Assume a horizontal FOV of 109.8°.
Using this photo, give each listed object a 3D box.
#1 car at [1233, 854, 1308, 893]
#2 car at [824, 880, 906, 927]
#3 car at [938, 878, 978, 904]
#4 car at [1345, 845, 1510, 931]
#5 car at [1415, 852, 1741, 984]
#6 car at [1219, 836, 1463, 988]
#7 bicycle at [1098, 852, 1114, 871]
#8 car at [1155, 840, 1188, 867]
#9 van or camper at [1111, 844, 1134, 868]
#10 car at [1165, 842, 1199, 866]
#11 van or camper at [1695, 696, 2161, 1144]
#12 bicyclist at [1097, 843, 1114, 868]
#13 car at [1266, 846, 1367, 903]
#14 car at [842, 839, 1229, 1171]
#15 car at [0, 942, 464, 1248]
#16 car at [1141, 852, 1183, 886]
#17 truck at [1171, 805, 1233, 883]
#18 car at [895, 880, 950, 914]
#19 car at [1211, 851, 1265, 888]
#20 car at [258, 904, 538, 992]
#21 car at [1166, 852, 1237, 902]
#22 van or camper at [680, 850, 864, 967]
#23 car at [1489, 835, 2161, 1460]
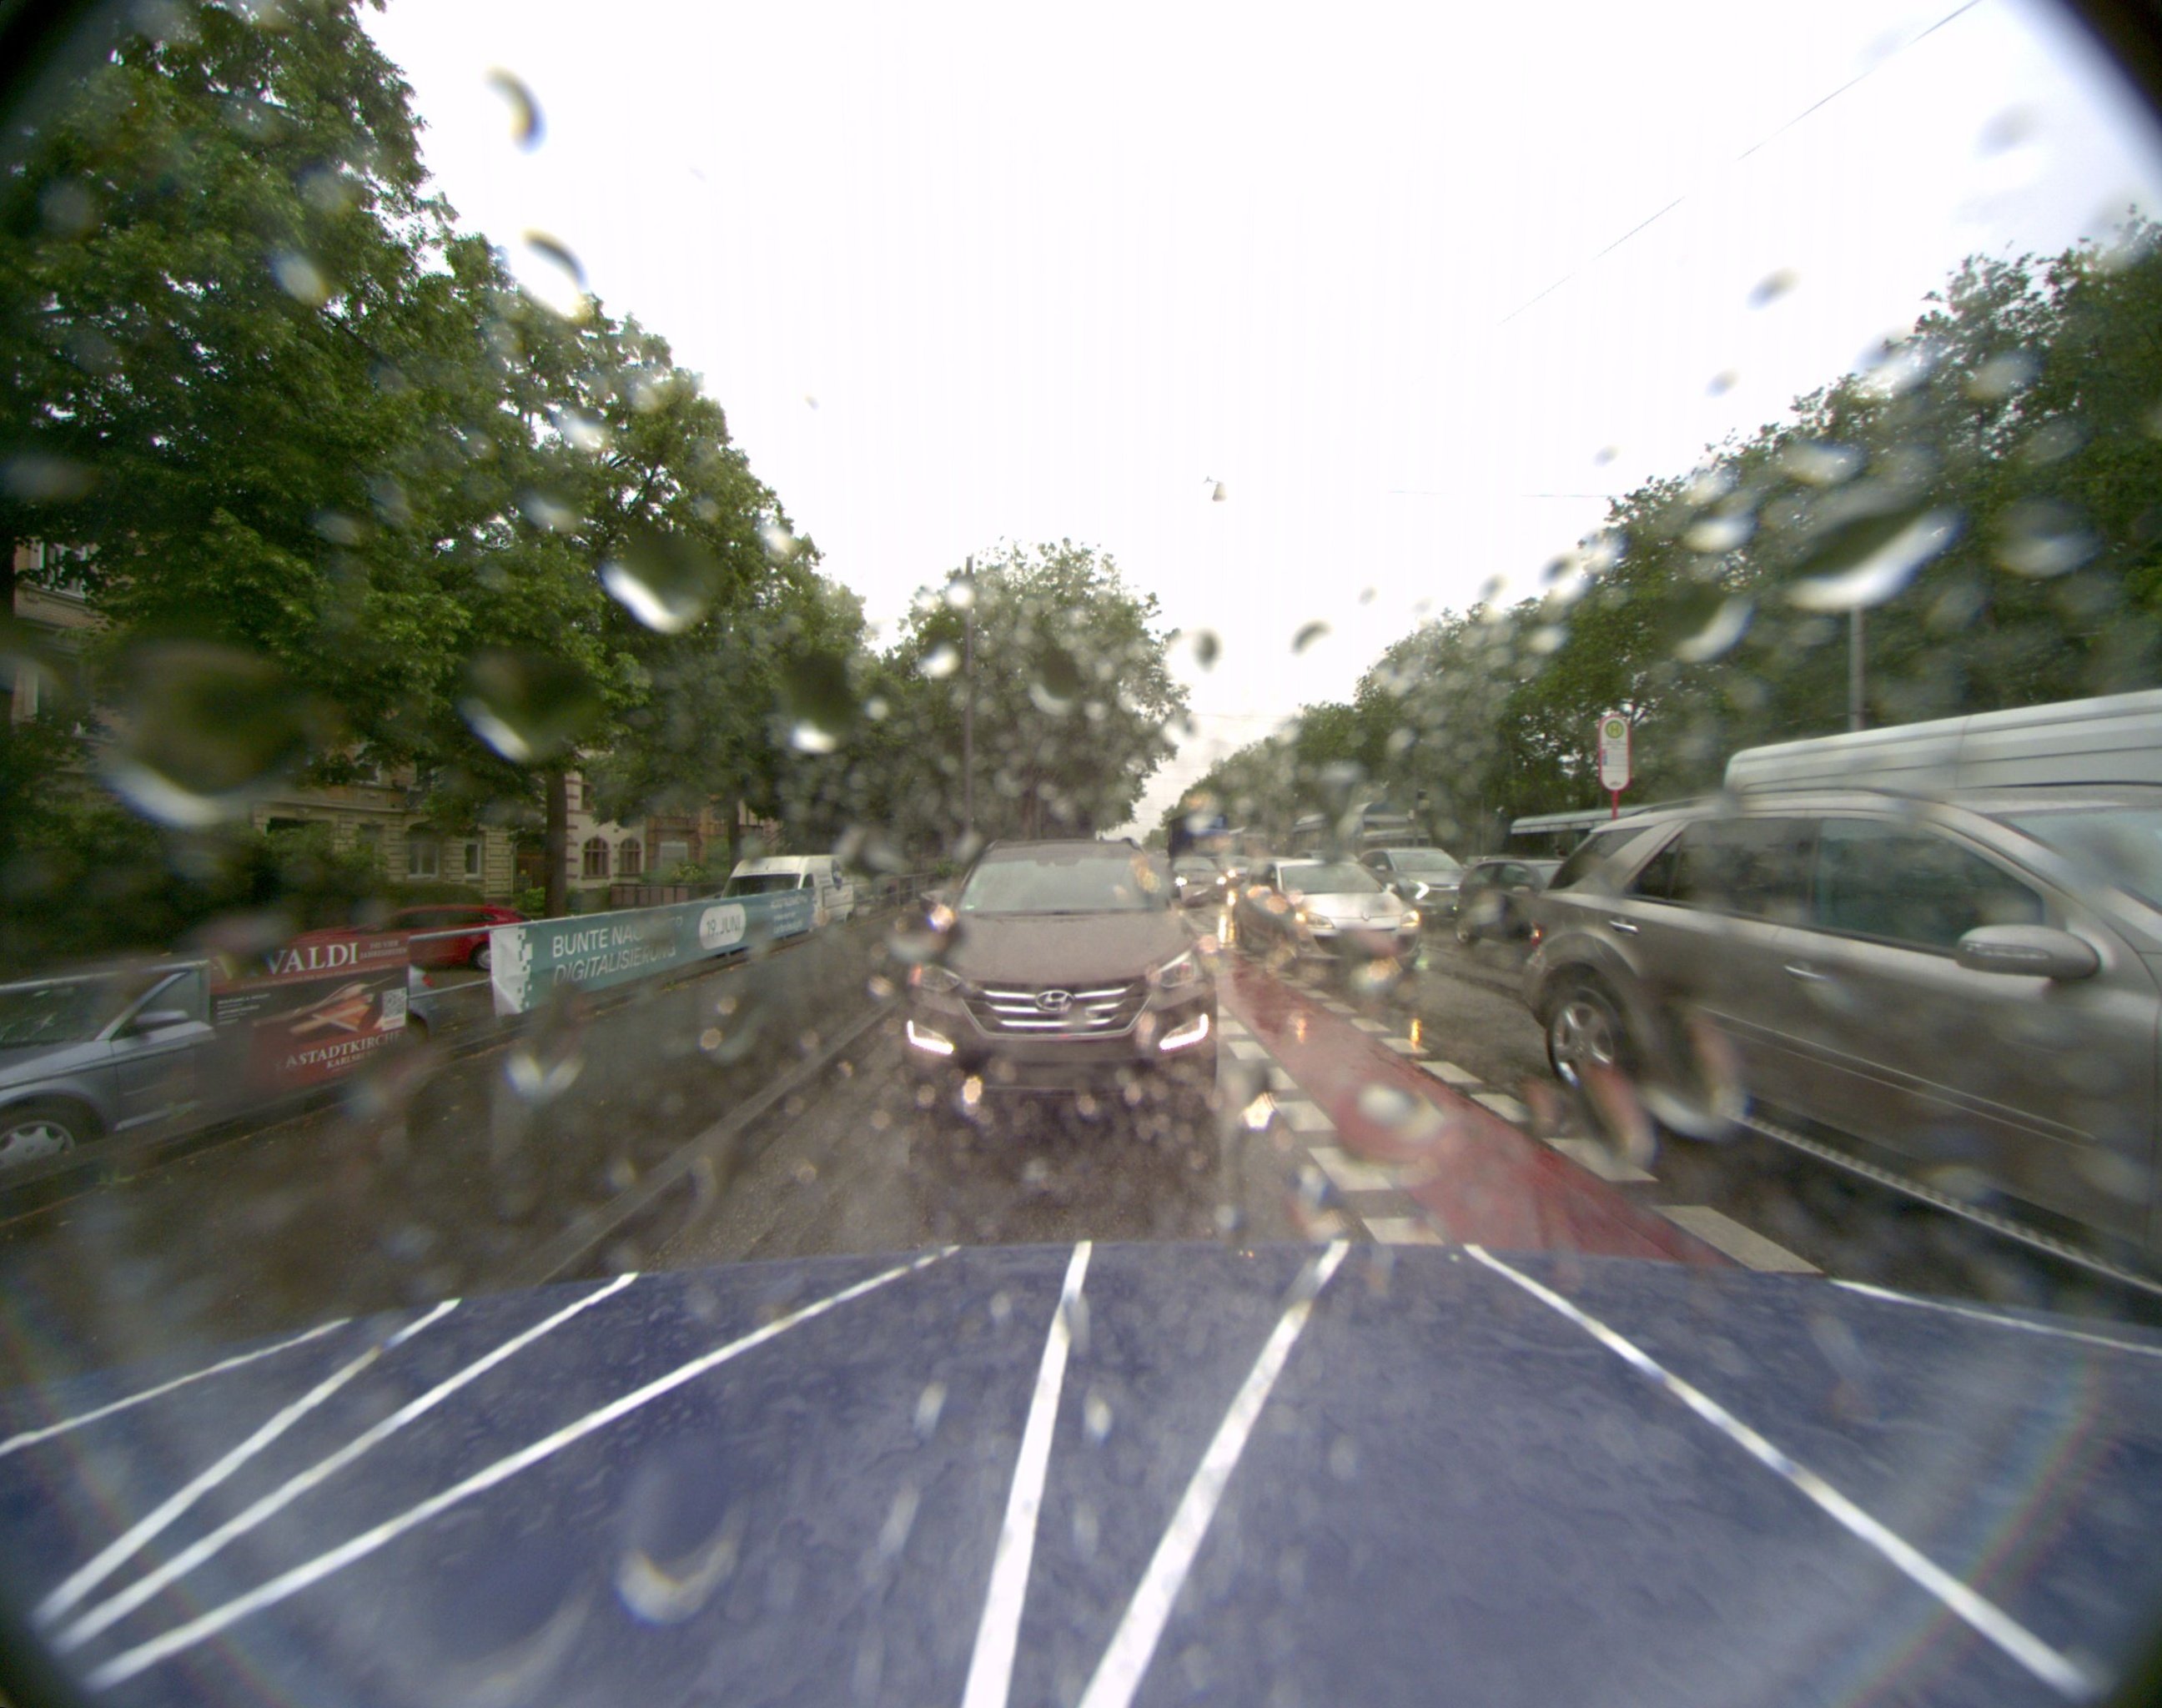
[{"bbox_3d":[7.455,0.754,30.303,1.913,1.399,4.191,-1,-1,0],"label":"car"},{"bbox_3d":[-7.650,1.730,27.271,1.630,1.341,4.216,-1,0,1],"label":"car"},{"bbox_3d":[-7.806,2.333,48.576,1.808,1.446,4.001,-1,-1,1],"label":"car"},{"bbox_3d":[7.422,0.694,16.809,1.847,1.625,4.249,-1,-1,3],"label":"car"},{"bbox_3d":[6.830,0.788,11.188,1.786,1.504,4.557,-1,-1,0],"label":"car"},{"bbox_3d":[3.445,0.713,11.046,1.975,1.731,4.267,-1,-1,-1],"label":"car"},{"bbox_3d":[1.458,0.428,45.392,0.819,1.082,1.997,-2,1,-1],"label":"bicycle"},{"bbox_3d":[7.728,-0.044,65.557,2.344,2.137,5.454,-2,1,2],"label":"car"},{"bbox_3d":[4.602,0.233,84.466,2.144,2.484,5.713,-1,-1,-1],"label":"van or camper"},{"bbox_3d":[7.655,-0.041,57.963,1.998,1.706,3.999,-2,1,1],"label":"car"},{"bbox_3d":[7.005,0.349,4.296,2.181,2.456,5.971,-1,-1,0],"label":"van or camper"},{"bbox_3d":[1.464,0.067,45.250,0.927,1.461,0.805,-2,1,-2],"label":"bicyclist"},{"bbox_3d":[7.448,0.624,24.483,1.913,1.637,4.191,-1,-1,0],"label":"car"},{"bbox_3d":[-0.129,0.801,6.158,1.912,1.637,4.682,-1,-1,3],"label":"car"},{"bbox_3d":[-7.209,1.620,5.643,1.731,1.461,4.217,-1,-1,1],"label":"car"},{"bbox_3d":[4.201,0.775,39.906,1.912,1.637,4.192,-1,-1,3],"label":"car"},{"bbox_3d":[7.127,-0.495,45.807,2.417,4.251,8.354,-1,-1,1],"label":"truck"},{"bbox_3d":[-7.536,2.015,36.454,1.704,1.363,4.000,-2,0,1],"label":"car"},{"bbox_3d":[7.446,0.738,36.359,1.912,1.637,4.192,-1,-1,3],"label":"car"},{"bbox_3d":[-14.593,1.949,16.616,4.294,1.461,1.705,-1,-1,-31],"label":"car"},{"bbox_3d":[4.099,0.771,26.599,1.912,1.540,4.668,-1,-1,3],"label":"car"},{"bbox_3d":[-7.801,1.277,20.104,2.332,2.575,6.097,-1,-1,0],"label":"van or camper"},{"bbox_3d":[3.766,0.760,2.834,1.913,1.637,4.680,-1,-1,0],"label":"car"}]
